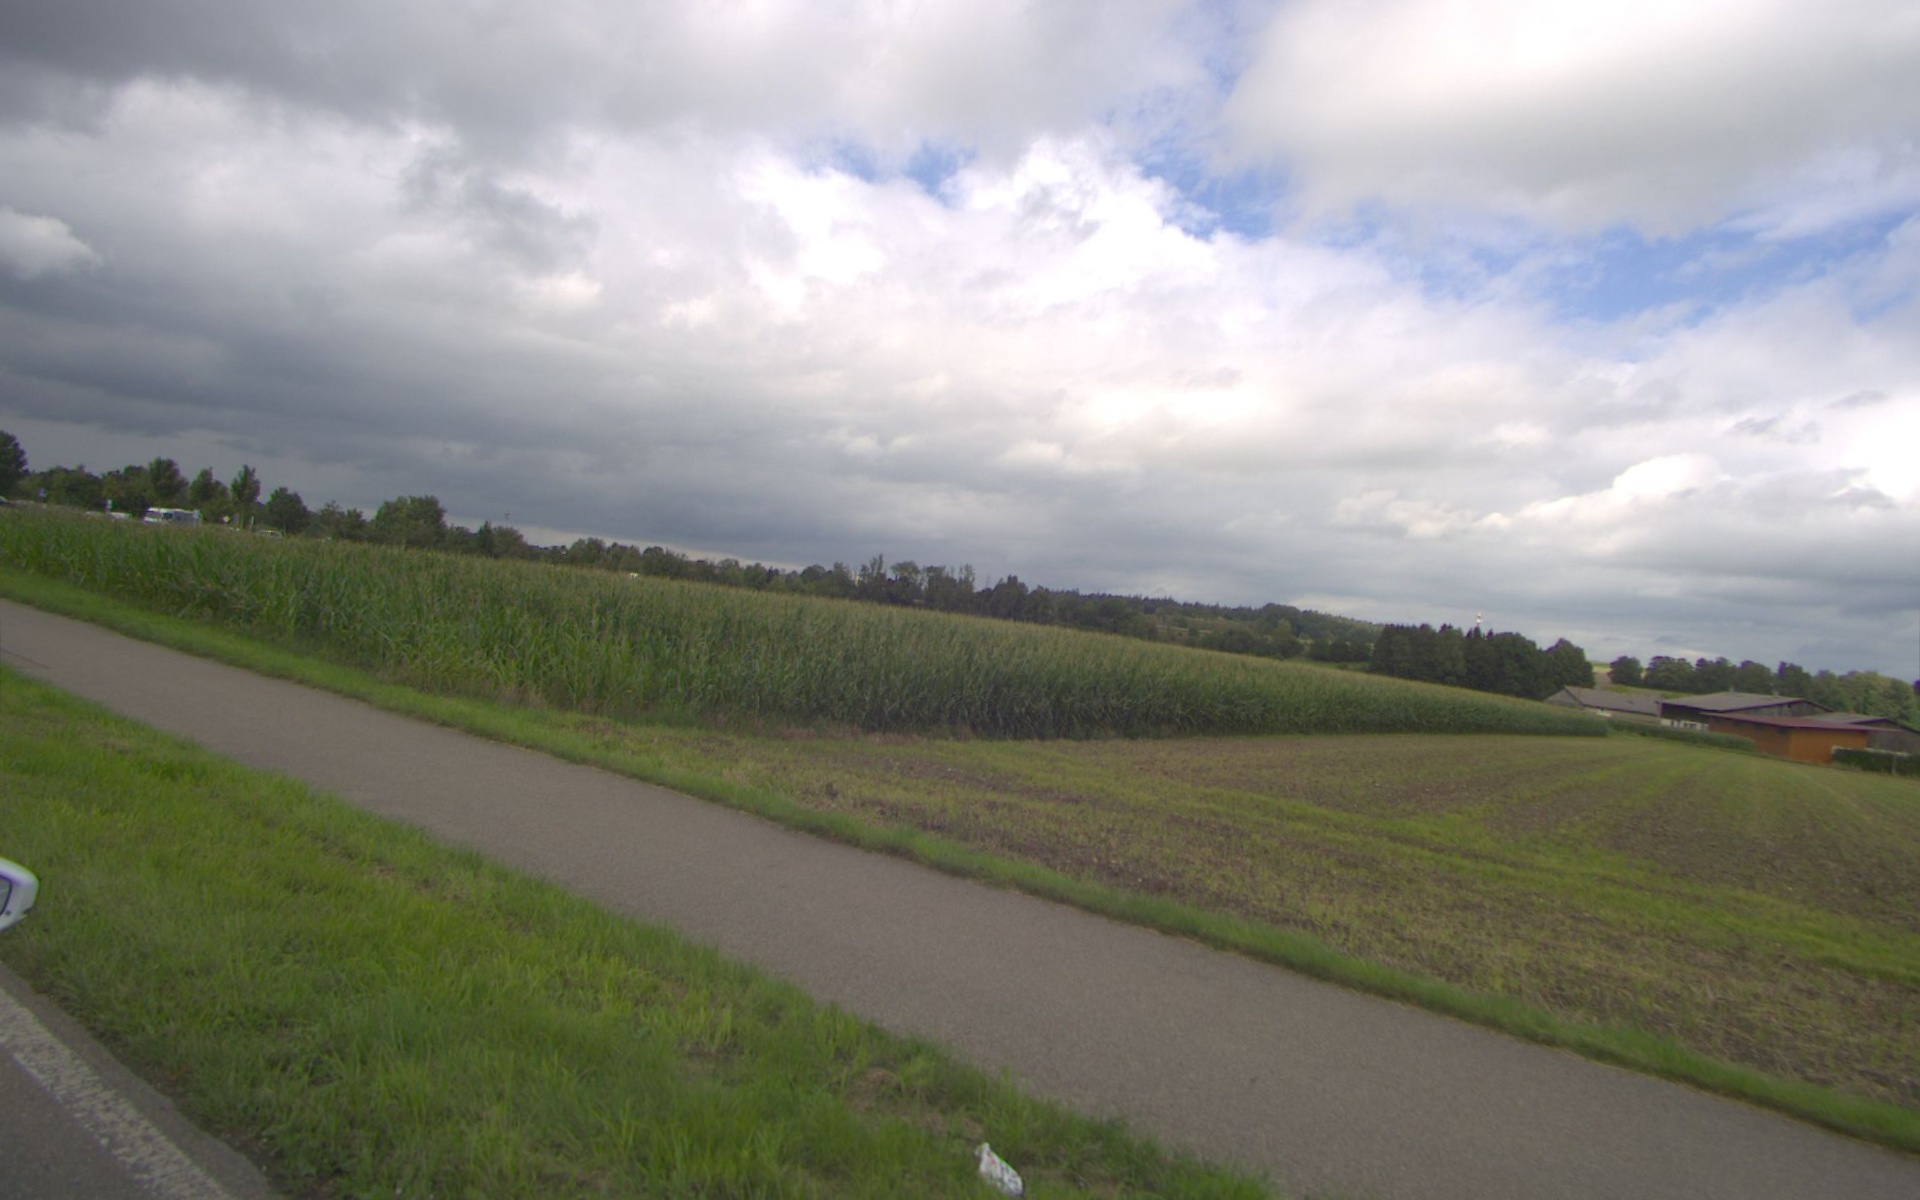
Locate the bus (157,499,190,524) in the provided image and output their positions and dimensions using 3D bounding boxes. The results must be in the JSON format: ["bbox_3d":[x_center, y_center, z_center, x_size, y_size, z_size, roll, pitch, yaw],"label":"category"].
[{"bbox_3d":[-106.896,-12.001,136.810,2.459,2.743,8.360,8,-1,-32],"label":"bus"}]
